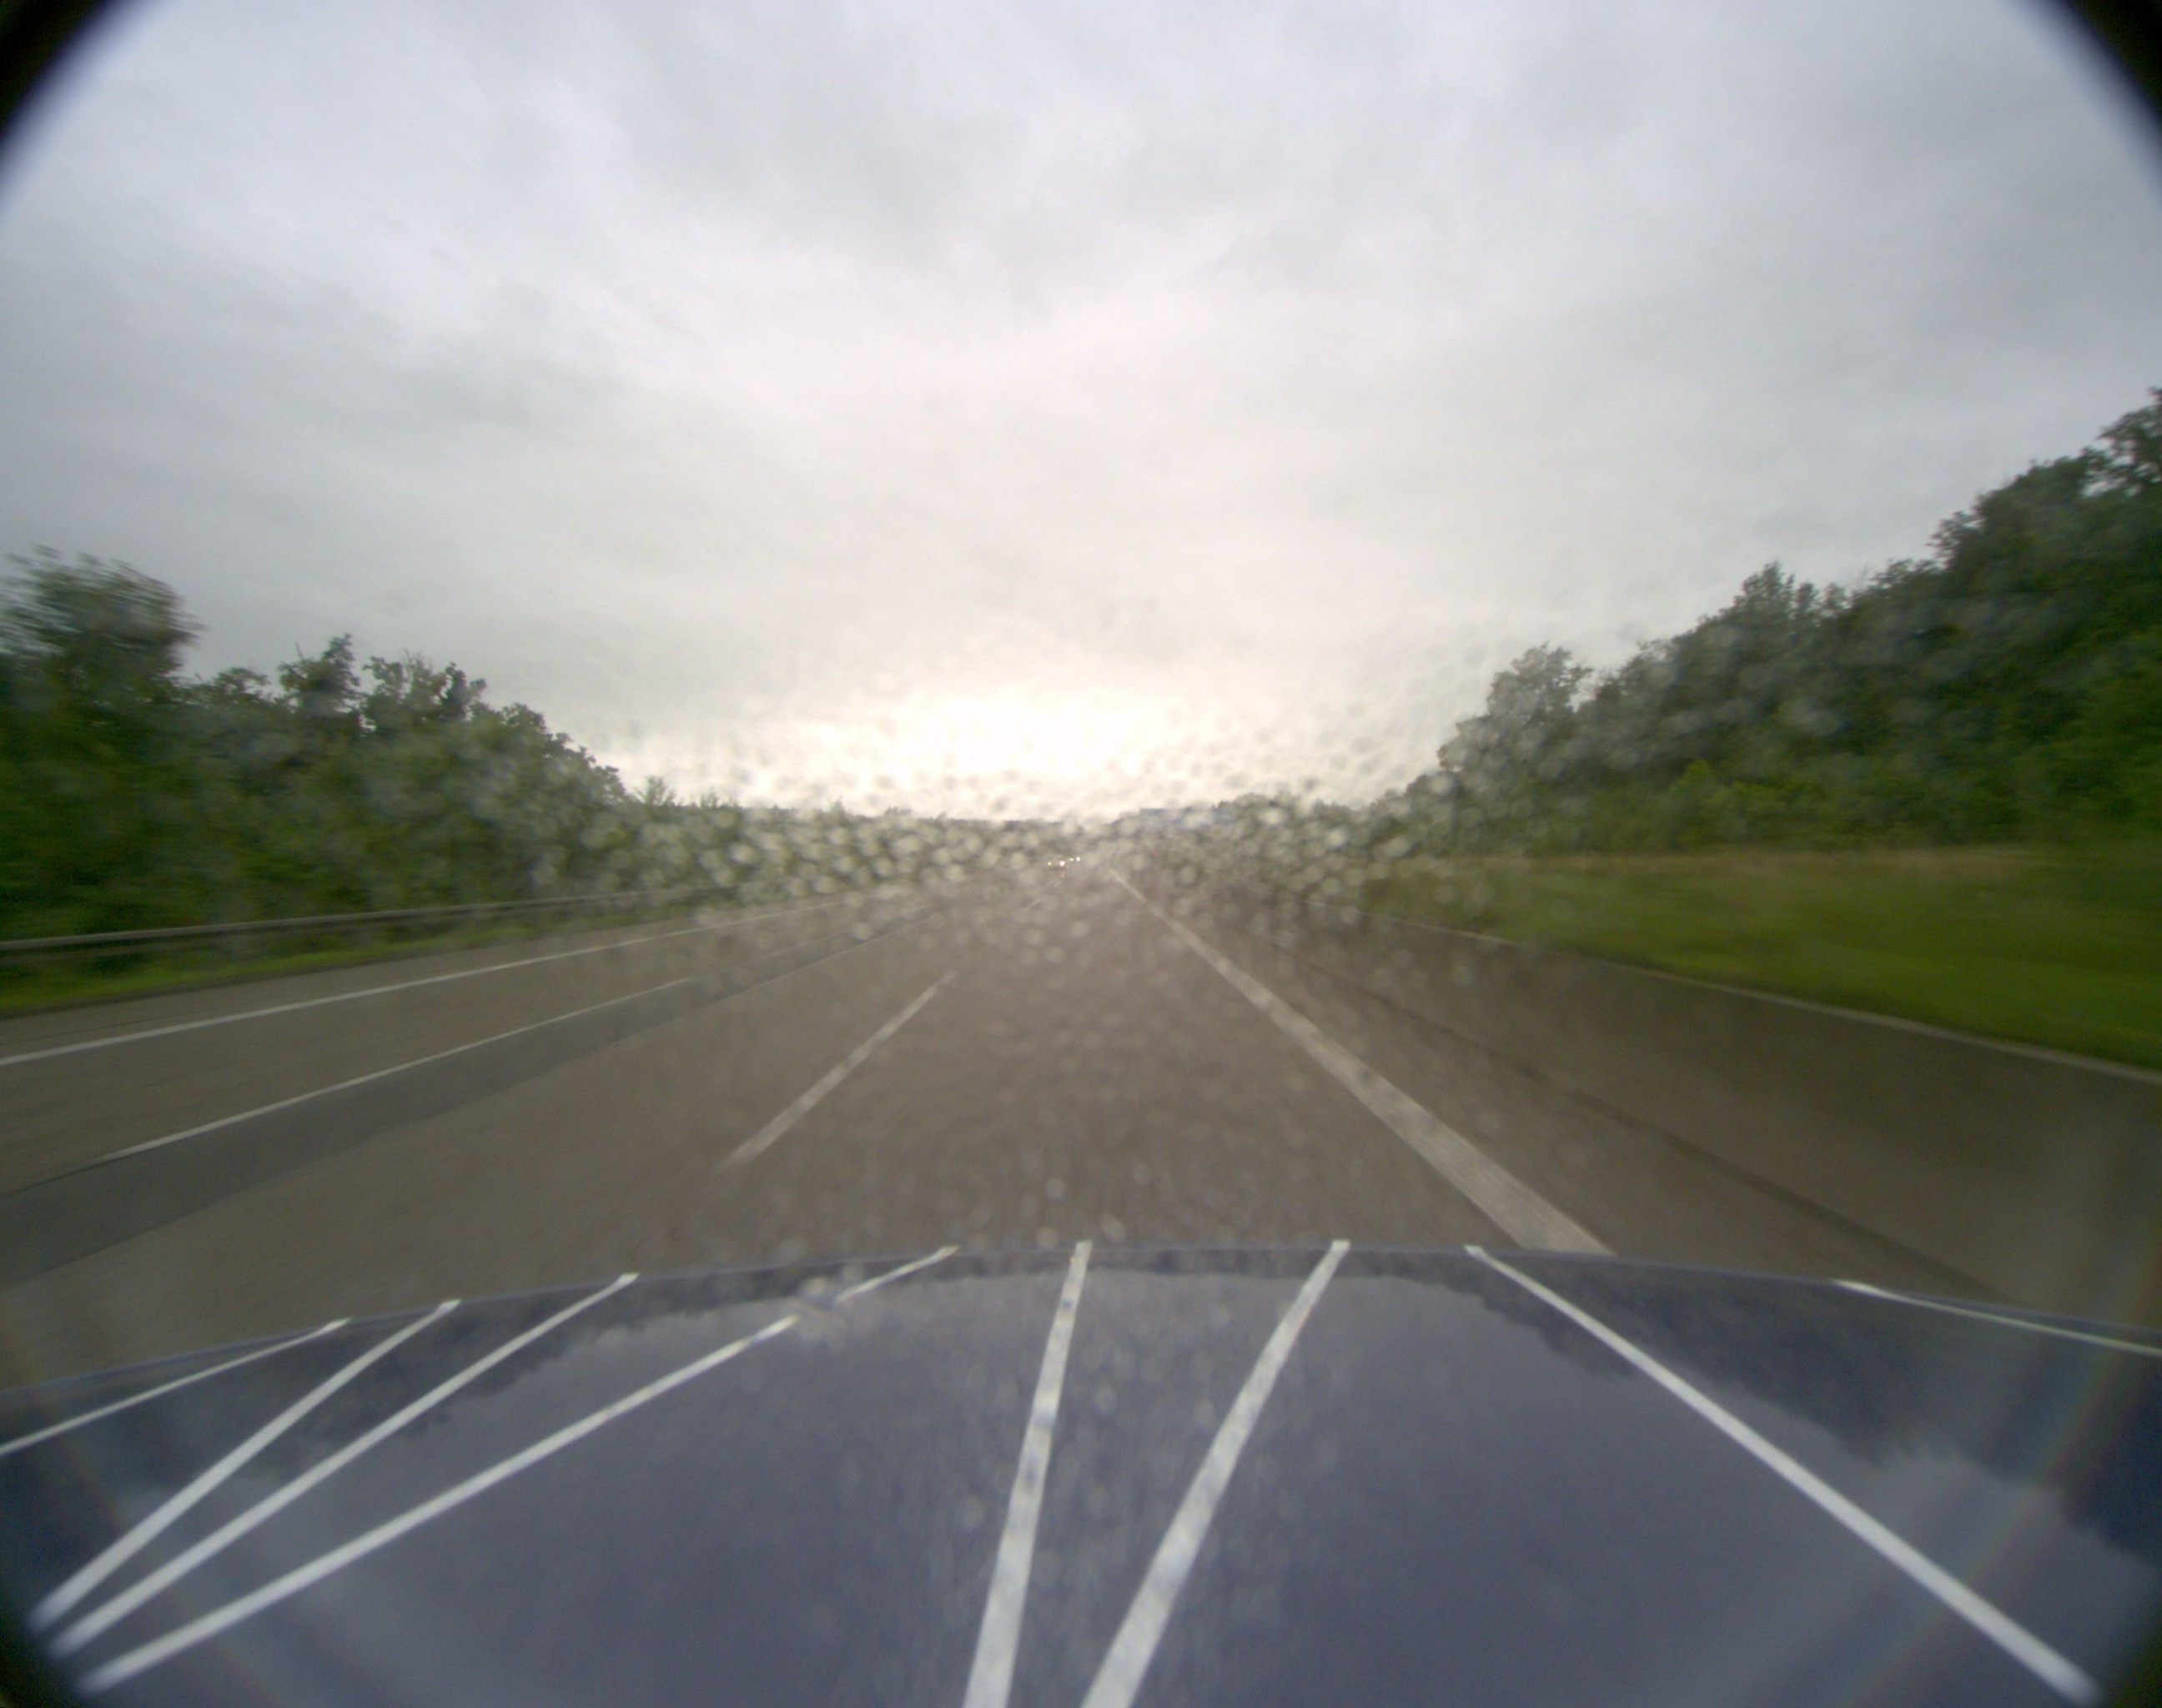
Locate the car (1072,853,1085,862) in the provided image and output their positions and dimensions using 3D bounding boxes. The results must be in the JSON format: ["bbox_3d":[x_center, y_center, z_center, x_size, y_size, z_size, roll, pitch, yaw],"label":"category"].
[{"bbox_3d":[-0.361,0.596,140.011,2.008,1.456,4.001,0,1,5],"label":"car"}]

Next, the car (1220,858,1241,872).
[{"bbox_3d":[16.760,1.219,85.342,1.664,1.477,3.476,0,0,1],"label":"car"}]

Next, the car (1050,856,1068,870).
[{"bbox_3d":[-2.444,0.944,85.168,1.932,1.521,4.297,0,0,0],"label":"car"}]
